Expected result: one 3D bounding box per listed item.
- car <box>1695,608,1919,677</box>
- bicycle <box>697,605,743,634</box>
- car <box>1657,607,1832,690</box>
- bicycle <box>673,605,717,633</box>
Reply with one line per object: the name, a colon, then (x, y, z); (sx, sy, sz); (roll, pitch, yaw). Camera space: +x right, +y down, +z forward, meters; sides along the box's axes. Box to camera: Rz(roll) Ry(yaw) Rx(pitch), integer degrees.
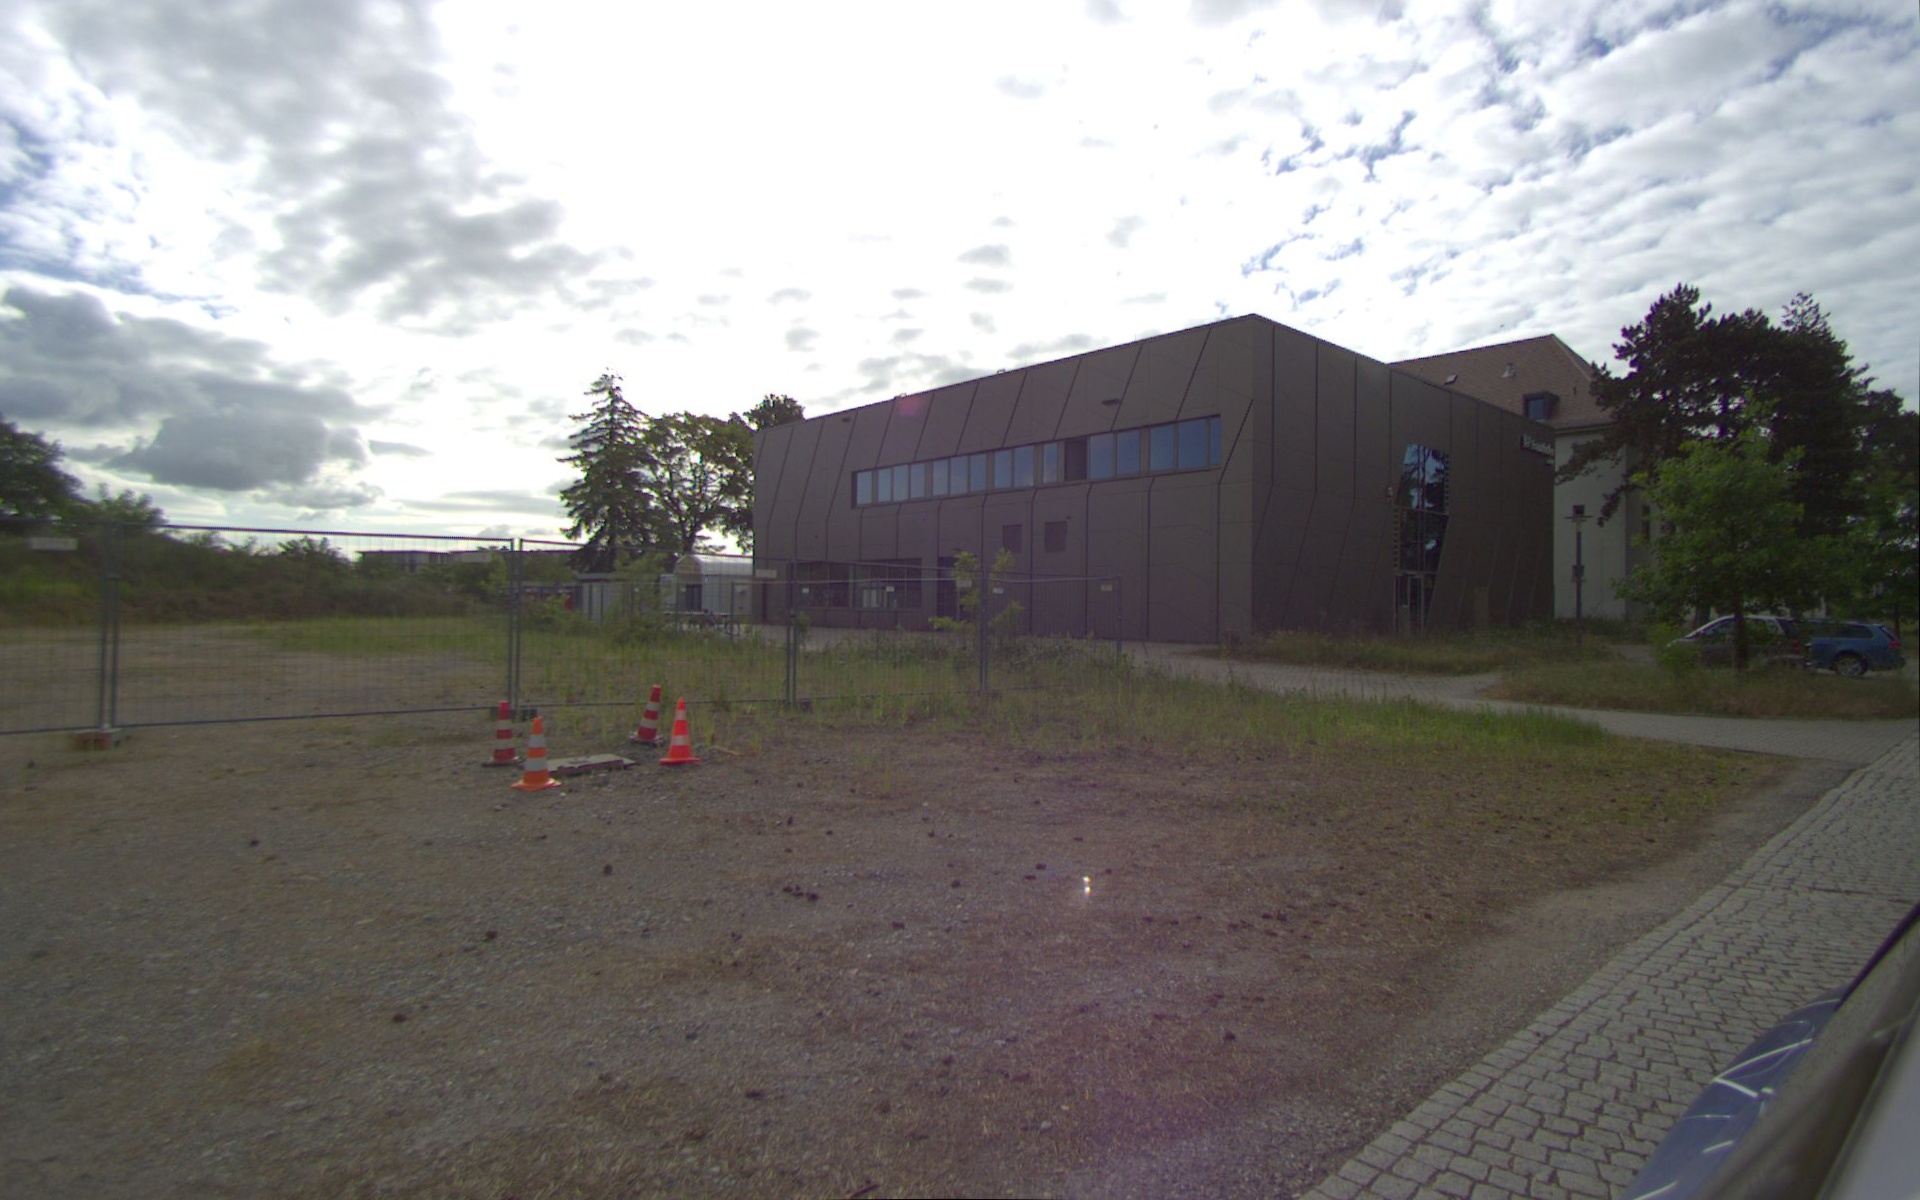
car: (22.489, 1.059, 26.935); (1.800, 1.494, 4.495); (1, 1, -44)
bicycle: (-9.130, 0.730, 38.532); (1.624, 1.099, 0.512); (1, -1, -33)
car: (17.054, 1.001, 22.057); (1.624, 1.576, 2.716); (1, 1, -40)
bicycle: (-10.553, 0.762, 40.304); (1.624, 1.099, 0.512); (1, -1, -33)
